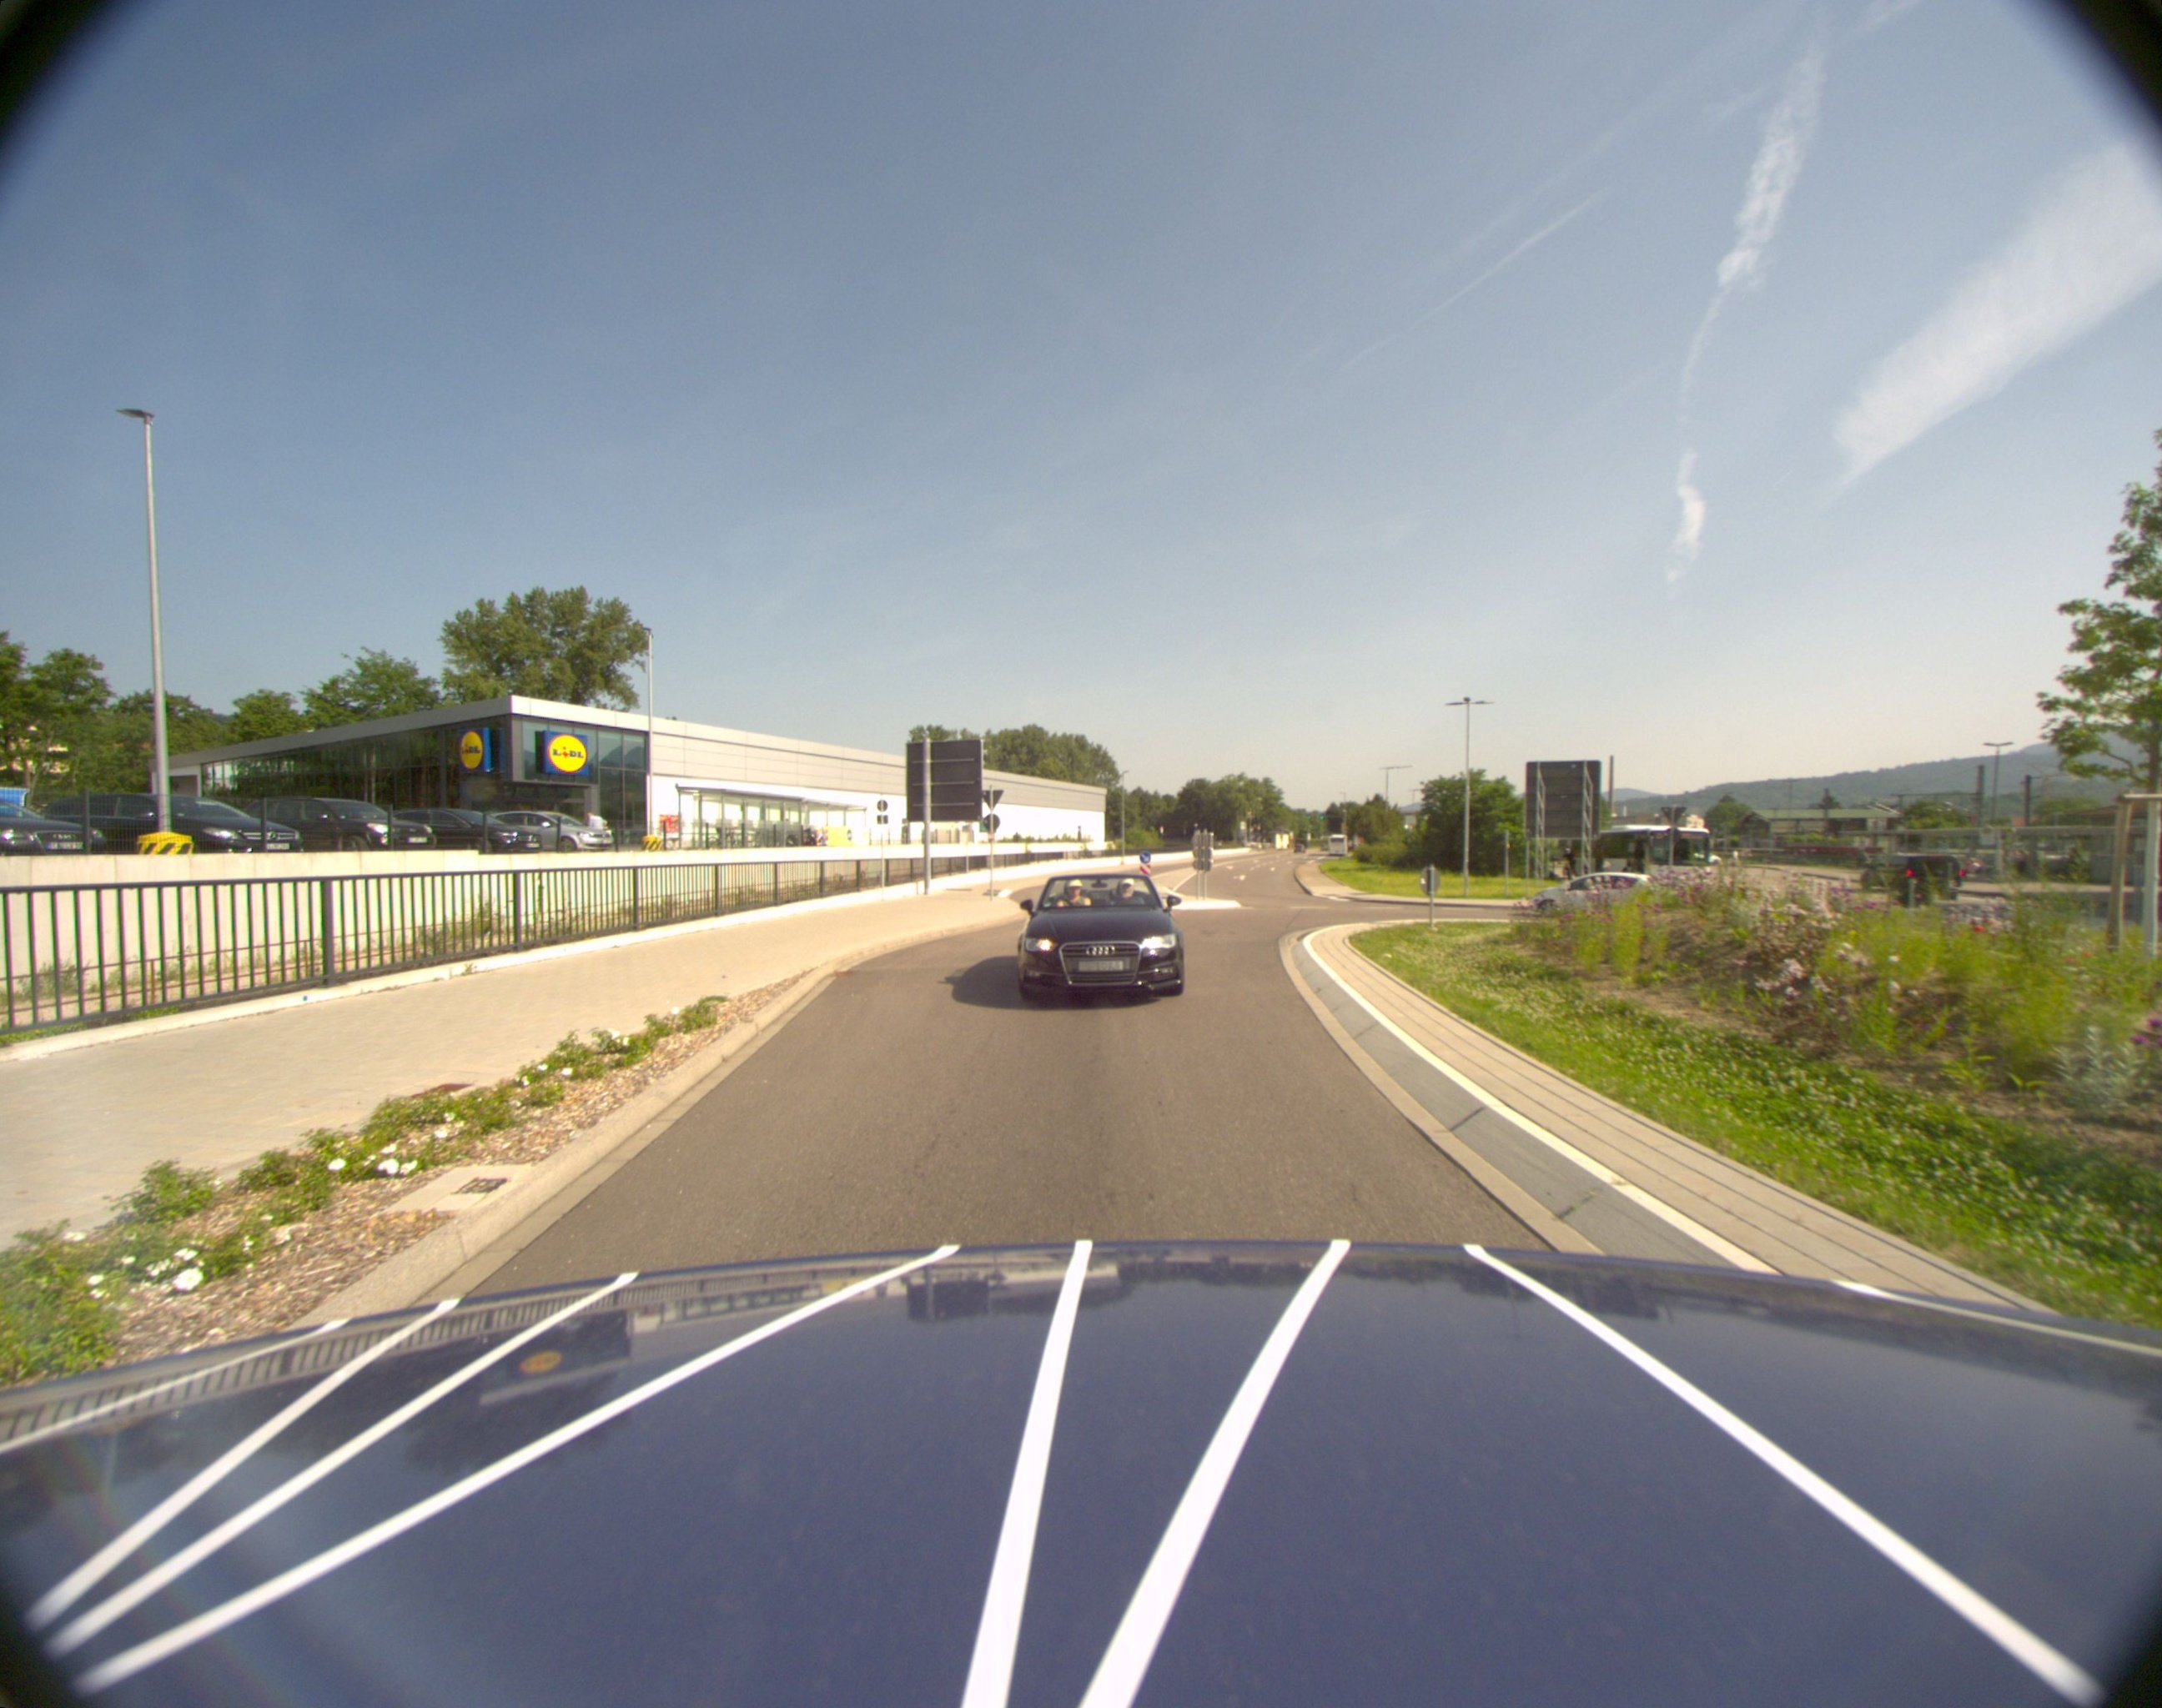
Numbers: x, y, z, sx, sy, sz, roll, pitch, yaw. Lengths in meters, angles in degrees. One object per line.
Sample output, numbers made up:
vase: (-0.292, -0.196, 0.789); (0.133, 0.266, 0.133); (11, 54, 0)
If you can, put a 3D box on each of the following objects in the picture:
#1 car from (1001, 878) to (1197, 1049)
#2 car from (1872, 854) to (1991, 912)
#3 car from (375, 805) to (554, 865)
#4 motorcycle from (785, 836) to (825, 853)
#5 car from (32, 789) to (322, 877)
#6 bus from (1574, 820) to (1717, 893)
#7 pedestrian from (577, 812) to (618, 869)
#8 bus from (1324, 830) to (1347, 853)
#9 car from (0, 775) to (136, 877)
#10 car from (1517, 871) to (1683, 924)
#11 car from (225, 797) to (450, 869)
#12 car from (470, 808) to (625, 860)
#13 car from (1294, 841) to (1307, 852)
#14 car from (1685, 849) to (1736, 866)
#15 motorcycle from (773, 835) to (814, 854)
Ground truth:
car: (0.135, 1.031, 8.840); (1.721, 1.314, 4.223); (-1, 1, -1)
car: (33.303, 1.066, 29.932); (1.973, 1.953, 5.167); (-2, 1, 35)
car: (-18.528, -0.557, 22.957); (3.996, 1.565, 1.704); (-2, 1, 2)
motorcycle: (-14.439, -0.499, 39.841); (1.879, 0.859, 0.626); (-3, 1, -16)
car: (-18.717, -0.424, 15.862); (3.996, 1.565, 1.704); (-2, 1, 2)
bus: (29.369, 0.022, 40.207); (2.583, 3.310, 10.600); (-2, 1, 17)
pedestrian: (-17.716, -0.497, 27.846); (0.831, 2.002, 0.864); (-2, 1, 17)
bus: (36.780, -1.788, 109.567); (2.863, 3.174, 9.129); (-1, 1, 20)
car: (-18.884, -0.388, 12.725); (3.996, 1.565, 1.704); (-2, 1, 2)
car: (15.806, 1.296, 23.229); (3.989, 1.390, 1.785); (-2, 1, 40)
car: (-18.672, -0.516, 19.211); (3.996, 1.565, 1.704); (-2, 1, 2)
car: (-18.458, -0.687, 26.397); (4.128, 1.565, 1.704); (-2, 1, 2)
car: (37.187, -1.329, 128.961); (1.883, 1.783, 4.003); (-2, 1, 13)
car: (70.006, 0.389, 84.506); (3.994, 1.717, 1.839); (-2, 1, 8)
motorcycle: (-14.640, -0.480, 38.750); (1.879, 0.859, 0.626); (-3, 1, -16)
